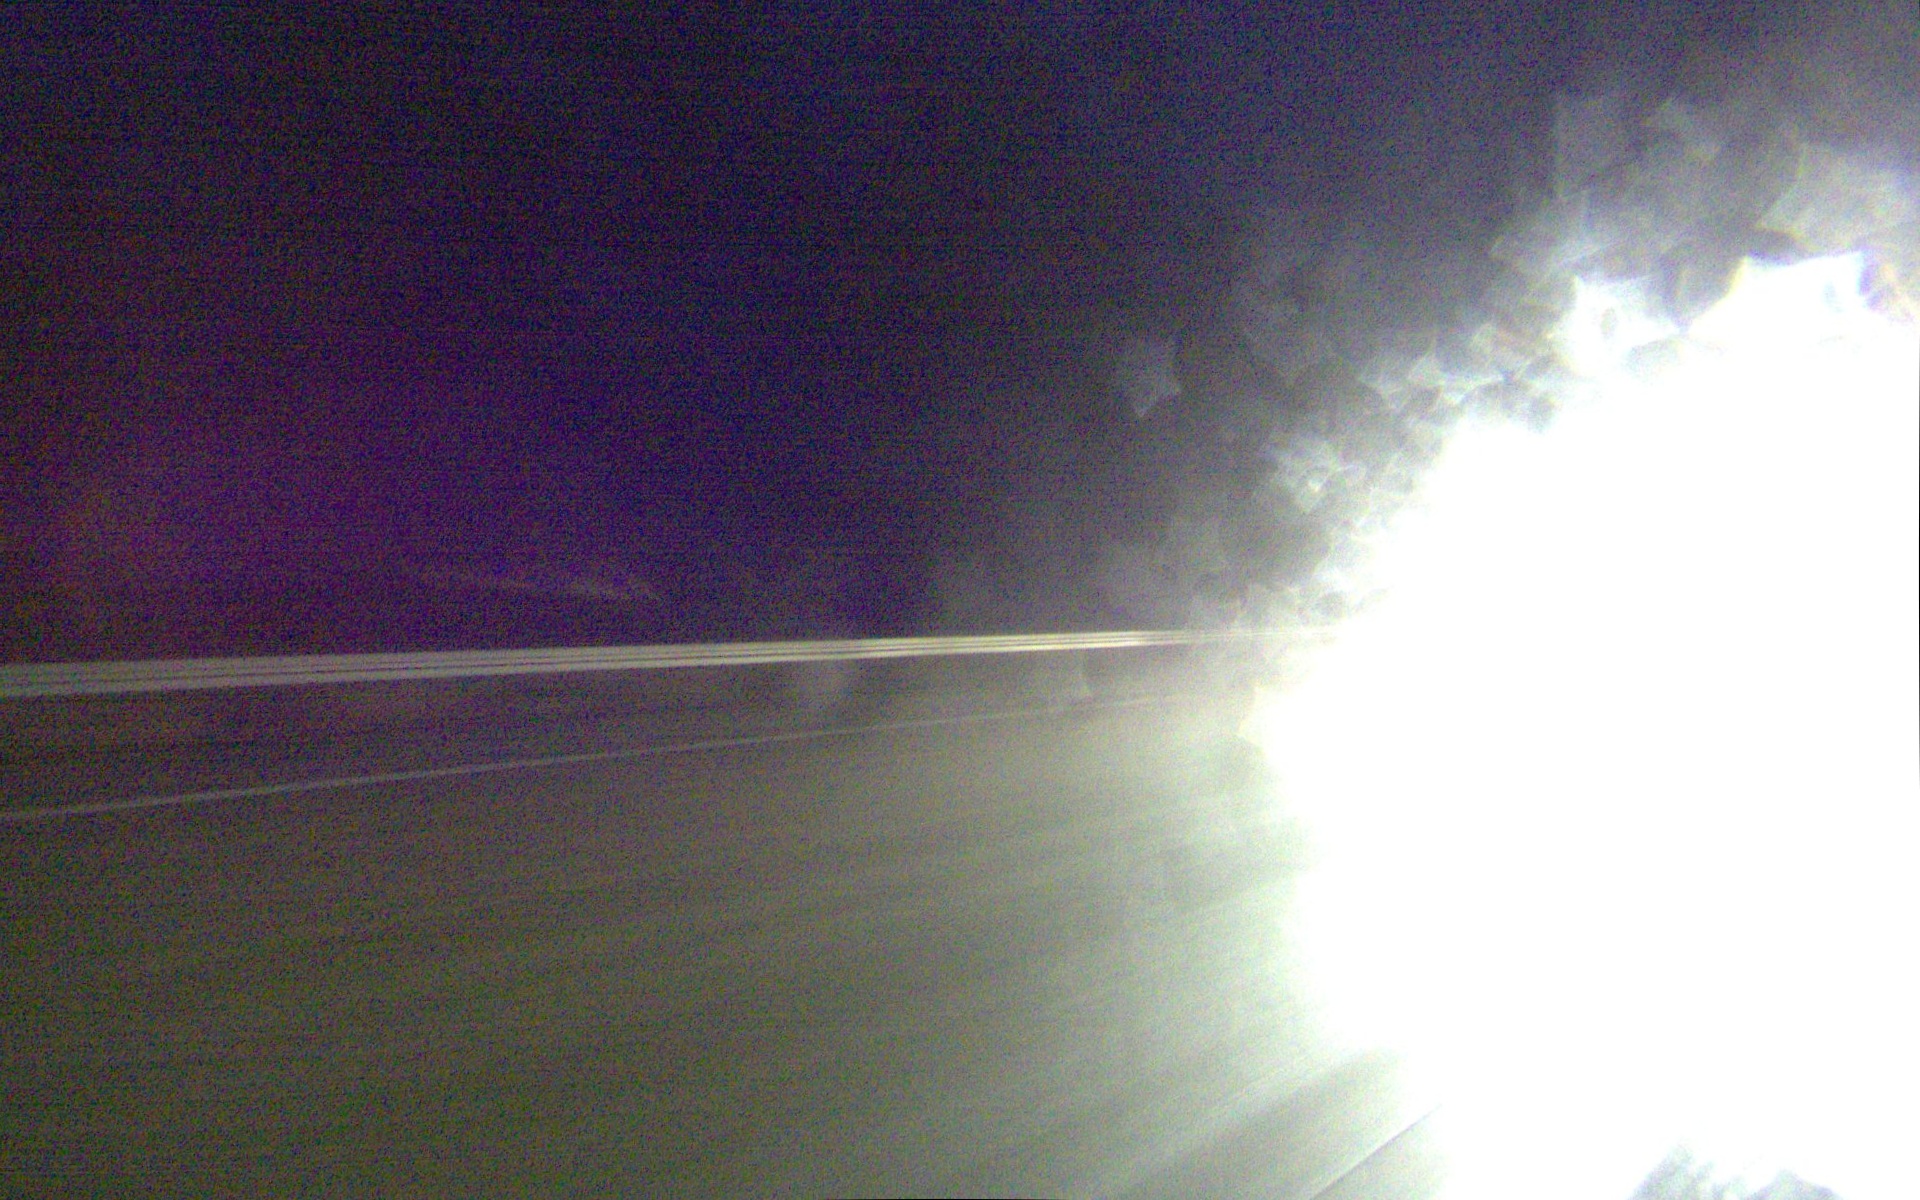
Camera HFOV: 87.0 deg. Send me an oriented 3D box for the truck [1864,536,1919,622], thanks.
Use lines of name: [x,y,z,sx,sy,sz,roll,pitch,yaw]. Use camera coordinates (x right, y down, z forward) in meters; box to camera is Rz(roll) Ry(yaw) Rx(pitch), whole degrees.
truck: [48.515,-1.012,51.363,6.888,4.155,2.865,0,0,-39]

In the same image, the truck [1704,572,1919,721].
truck: [12.030,0.519,13.936,4.769,1.717,1.847,-1,0,-41]

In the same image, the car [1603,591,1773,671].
car: [15.445,0.592,21.347,5.272,1.498,1.746,0,0,-41]

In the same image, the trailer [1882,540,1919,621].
trailer: [54.312,-1.072,56.060,13.397,4.149,2.871,-1,0,-39]
